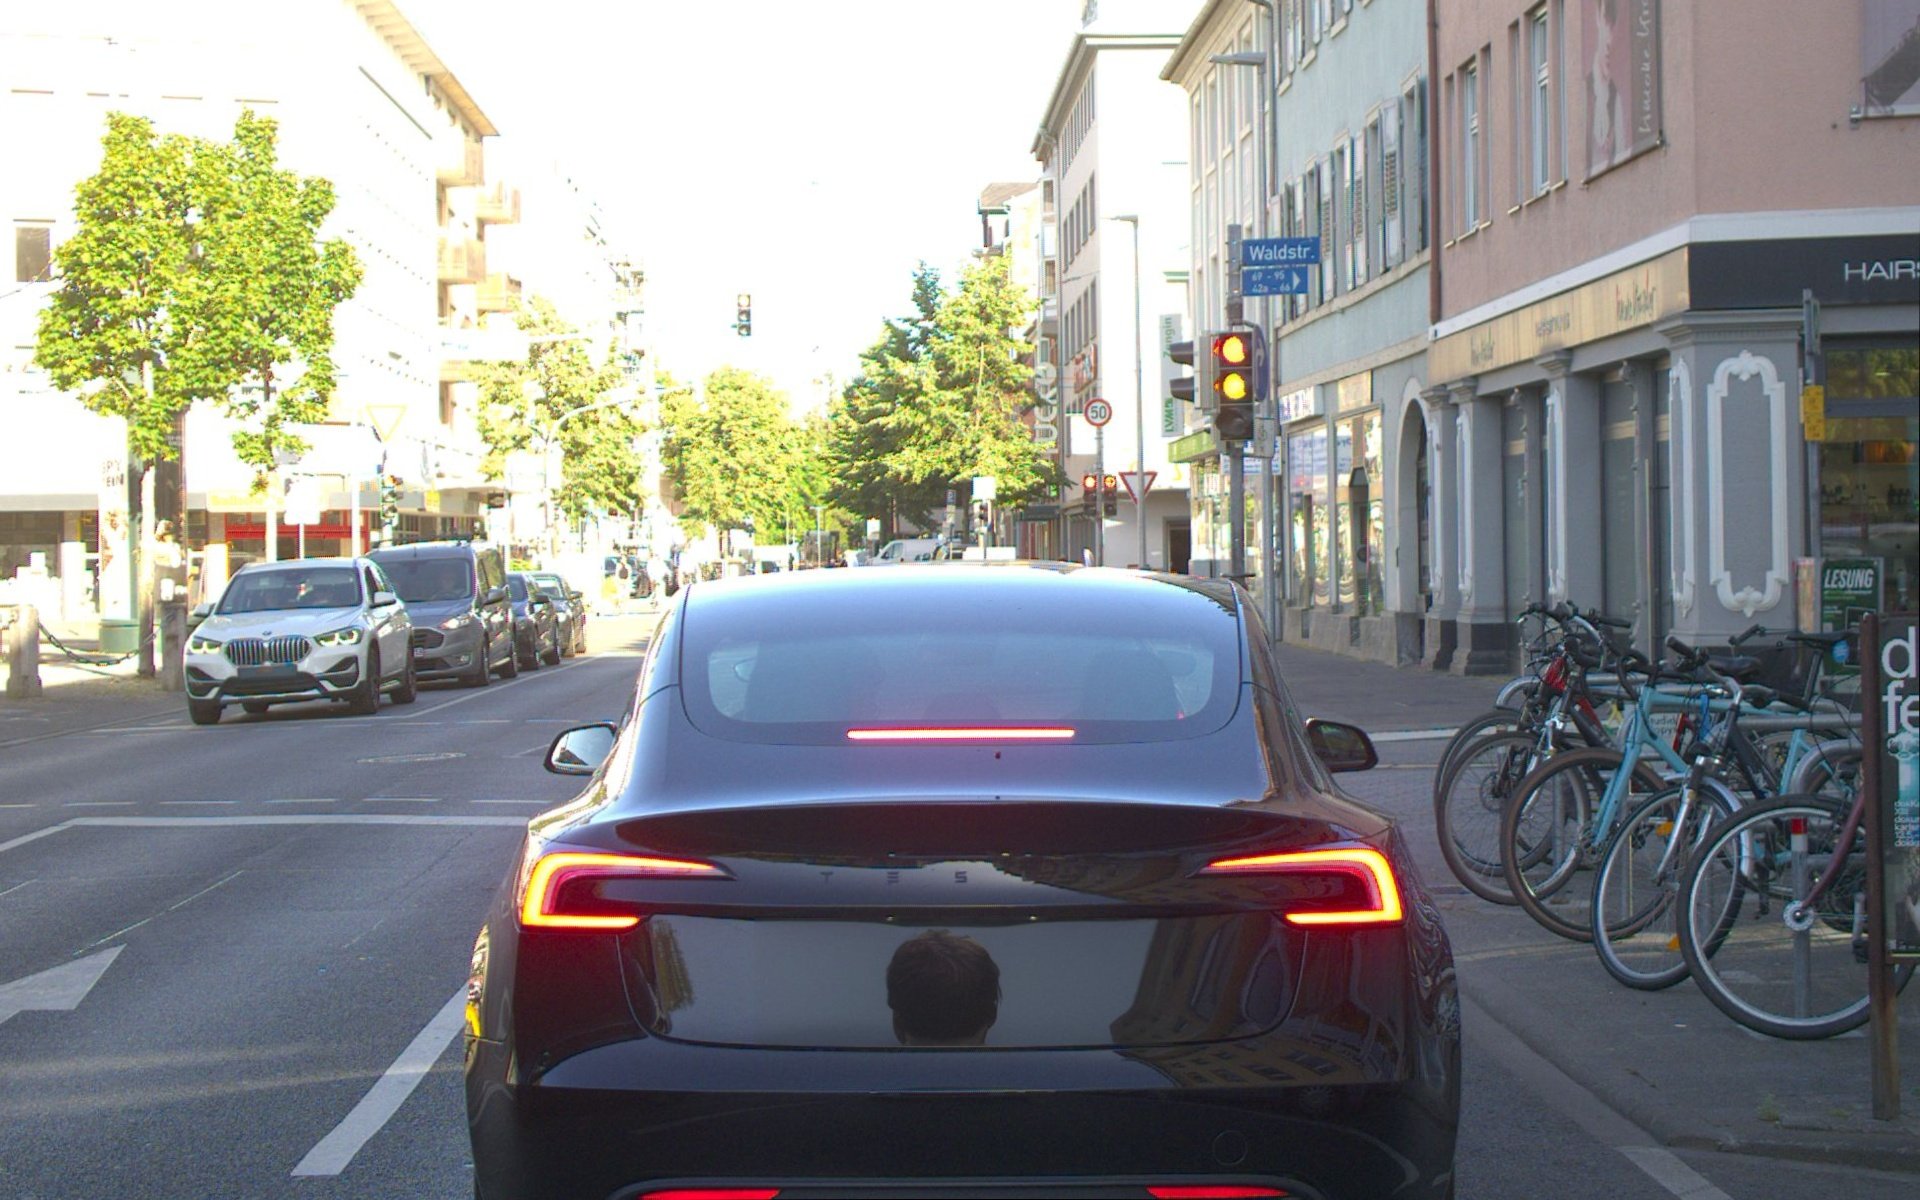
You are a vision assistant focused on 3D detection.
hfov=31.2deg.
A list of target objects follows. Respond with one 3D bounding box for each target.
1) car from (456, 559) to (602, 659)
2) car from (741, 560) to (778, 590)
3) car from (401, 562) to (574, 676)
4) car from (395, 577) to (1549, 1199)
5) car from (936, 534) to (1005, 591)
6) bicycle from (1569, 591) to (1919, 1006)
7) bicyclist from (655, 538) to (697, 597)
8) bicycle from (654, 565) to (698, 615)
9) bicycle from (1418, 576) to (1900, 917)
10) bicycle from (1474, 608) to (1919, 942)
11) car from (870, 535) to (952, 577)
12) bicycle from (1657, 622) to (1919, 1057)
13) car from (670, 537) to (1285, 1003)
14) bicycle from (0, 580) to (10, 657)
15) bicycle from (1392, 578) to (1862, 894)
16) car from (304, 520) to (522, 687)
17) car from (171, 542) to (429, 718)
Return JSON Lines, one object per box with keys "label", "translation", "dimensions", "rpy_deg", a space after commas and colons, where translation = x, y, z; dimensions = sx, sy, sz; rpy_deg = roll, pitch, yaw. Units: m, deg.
{"label": "car", "translation": [-7.101, 0.119, 57.046], "dimensions": [1.993, 1.431, 4.675], "rpy_deg": [-4, 1, -3]}
{"label": "car", "translation": [-10.929, -1.367, 187.098], "dimensions": [1.993, 1.631, 4.001], "rpy_deg": [0, 1, -3]}
{"label": "car", "translation": [-6.736, 0.237, 49.455], "dimensions": [1.993, 1.405, 4.675], "rpy_deg": [-4, 1, -3]}
{"label": "car", "translation": [0.000, 0.687, 7.523], "dimensions": [1.848, 1.450, 4.000], "rpy_deg": [0, 1, -1]}
{"label": "car", "translation": [0.286, -1.103, 100.729], "dimensions": [1.993, 1.623, 4.000], "rpy_deg": [0, 1, 0]}
{"label": "bicycle", "translation": [2.896, 0.617, 11.141], "dimensions": [1.722, 1.263, 0.790], "rpy_deg": [-2, 1, 5]}
{"label": "bicyclist", "translation": [-7.901, -0.912, 95.637], "dimensions": [1.126, 1.623, 0.965], "rpy_deg": [0, 1, -3]}
{"label": "bicycle", "translation": [-7.883, -0.296, 95.553], "dimensions": [1.111, 1.340, 4.001], "rpy_deg": [0, 1, -3]}
{"label": "bicycle", "translation": [2.750, 0.564, 13.671], "dimensions": [1.746, 1.262, 0.781], "rpy_deg": [-2, 1, 3]}
{"label": "bicycle", "translation": [2.816, 0.619, 12.493], "dimensions": [1.798, 1.120, 0.781], "rpy_deg": [-2, 1, 5]}
{"label": "car", "translation": [-2.408, -2.147, 167.576], "dimensions": [3.986, 2.007, 2.000], "rpy_deg": [0, 1, -2]}
{"label": "bicycle", "translation": [3.042, 0.666, 10.010], "dimensions": [1.886, 1.189, 0.691], "rpy_deg": [-2, 1, 5]}
{"label": "car", "translation": [-0.009, 0.516, 13.232], "dimensions": [1.993, 1.507, 4.176], "rpy_deg": [0, 1, -2]}
{"label": "bicycle", "translation": [-15.702, 0.277, 52.254], "dimensions": [2.323, 1.152, 0.843], "rpy_deg": [0, 1, -5]}
{"label": "bicycle", "translation": [2.819, 0.566, 14.702], "dimensions": [1.862, 1.253, 0.832], "rpy_deg": [-2, 1, 5]}
{"label": "car", "translation": [-6.705, -0.007, 42.627], "dimensions": [1.834, 1.838, 4.674], "rpy_deg": [-4, 1, 0]}
{"label": "car", "translation": [-6.639, 0.249, 35.001], "dimensions": [1.807, 1.550, 4.310], "rpy_deg": [-4, 1, -1]}
